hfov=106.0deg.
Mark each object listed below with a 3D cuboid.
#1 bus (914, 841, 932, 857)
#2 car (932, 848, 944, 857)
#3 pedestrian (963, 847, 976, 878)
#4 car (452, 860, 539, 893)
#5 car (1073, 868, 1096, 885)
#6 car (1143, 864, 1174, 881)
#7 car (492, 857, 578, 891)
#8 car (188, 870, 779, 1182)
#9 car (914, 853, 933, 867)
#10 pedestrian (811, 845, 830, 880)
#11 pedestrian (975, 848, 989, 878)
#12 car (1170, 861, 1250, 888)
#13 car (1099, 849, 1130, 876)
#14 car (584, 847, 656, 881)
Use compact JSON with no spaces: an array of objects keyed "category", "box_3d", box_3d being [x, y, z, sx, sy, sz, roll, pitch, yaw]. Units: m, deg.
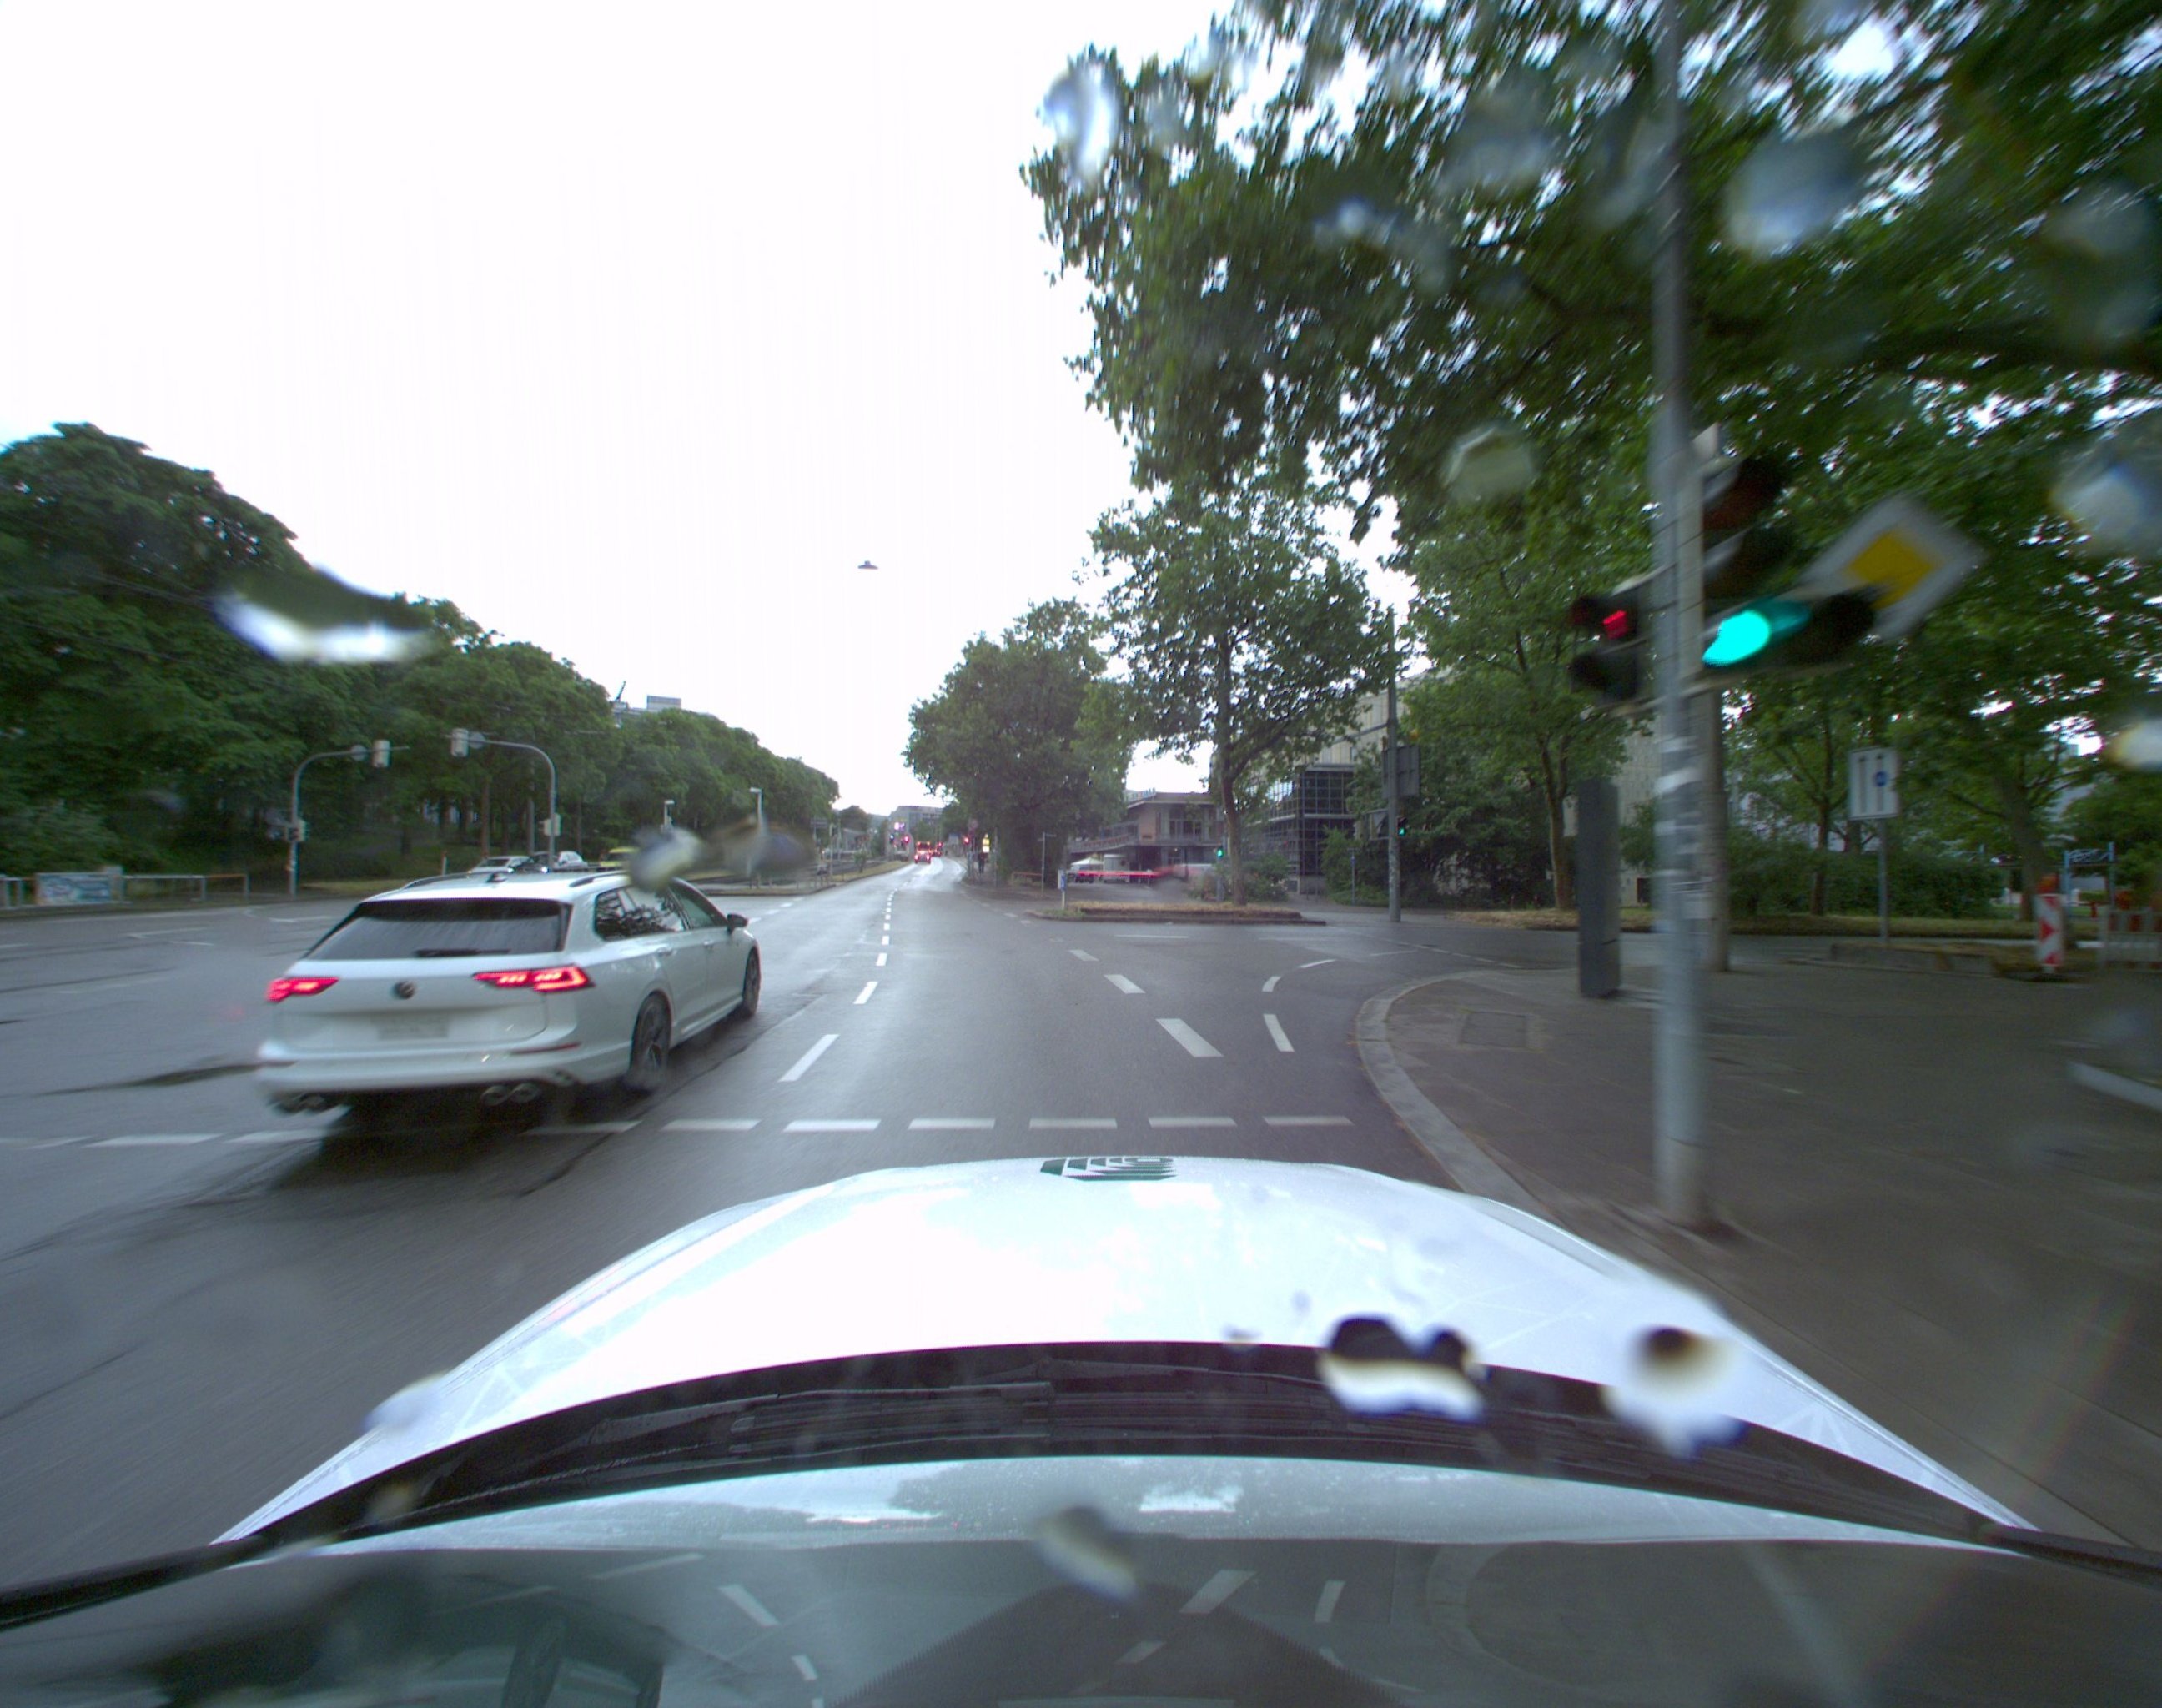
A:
[{"category":"bus","box_3d":[-33.222,-0.970,171.323,3.591,3.171,10.381,-2,0,-11]},{"category":"car","box_3d":[-30.908,-0.377,176.254,2.364,1.817,5.164,-2,0,-11]},{"category":"pedestrian","box_3d":[-7.576,0.579,55.451,0.813,2.013,1.075,-2,0,-6]},{"category":"car","box_3d":[-29.345,1.113,40.964,1.917,1.546,3.674,0,0,-6]},{"category":"car","box_3d":[0.424,2.221,82.059,2.010,1.551,4.355,1,0,4]},{"category":"car","box_3d":[7.847,1.884,83.158,2.020,1.551,4.334,0,0,-11]},{"category":"car","box_3d":[-26.227,0.911,39.261,1.917,1.546,3.674,0,0,-6]},{"category":"car","box_3d":[-3.789,0.882,6.328,1.795,1.442,4.461,-2,-1,-9]},{"category":"car","box_3d":[-18.522,0.683,95.627,1.993,1.519,4.336,-2,0,-9]},{"category":"pedestrian","box_3d":[-13.610,0.453,42.553,0.871,1.802,0.863,0,0,-16]},{"category":"pedestrian","box_3d":[-6.765,0.597,55.593,0.873,2.013,1.075,-2,0,-6]},{"category":"car","box_3d":[8.904,1.374,56.127,5.222,1.731,1.860,0,0,-23]},{"category":"car","box_3d":[3.459,0.845,85.474,2.725,2.695,6.916,0,0,-2]},{"category":"car","box_3d":[-26.903,0.576,47.703,1.917,1.851,4.558,0,0,-6]}]
